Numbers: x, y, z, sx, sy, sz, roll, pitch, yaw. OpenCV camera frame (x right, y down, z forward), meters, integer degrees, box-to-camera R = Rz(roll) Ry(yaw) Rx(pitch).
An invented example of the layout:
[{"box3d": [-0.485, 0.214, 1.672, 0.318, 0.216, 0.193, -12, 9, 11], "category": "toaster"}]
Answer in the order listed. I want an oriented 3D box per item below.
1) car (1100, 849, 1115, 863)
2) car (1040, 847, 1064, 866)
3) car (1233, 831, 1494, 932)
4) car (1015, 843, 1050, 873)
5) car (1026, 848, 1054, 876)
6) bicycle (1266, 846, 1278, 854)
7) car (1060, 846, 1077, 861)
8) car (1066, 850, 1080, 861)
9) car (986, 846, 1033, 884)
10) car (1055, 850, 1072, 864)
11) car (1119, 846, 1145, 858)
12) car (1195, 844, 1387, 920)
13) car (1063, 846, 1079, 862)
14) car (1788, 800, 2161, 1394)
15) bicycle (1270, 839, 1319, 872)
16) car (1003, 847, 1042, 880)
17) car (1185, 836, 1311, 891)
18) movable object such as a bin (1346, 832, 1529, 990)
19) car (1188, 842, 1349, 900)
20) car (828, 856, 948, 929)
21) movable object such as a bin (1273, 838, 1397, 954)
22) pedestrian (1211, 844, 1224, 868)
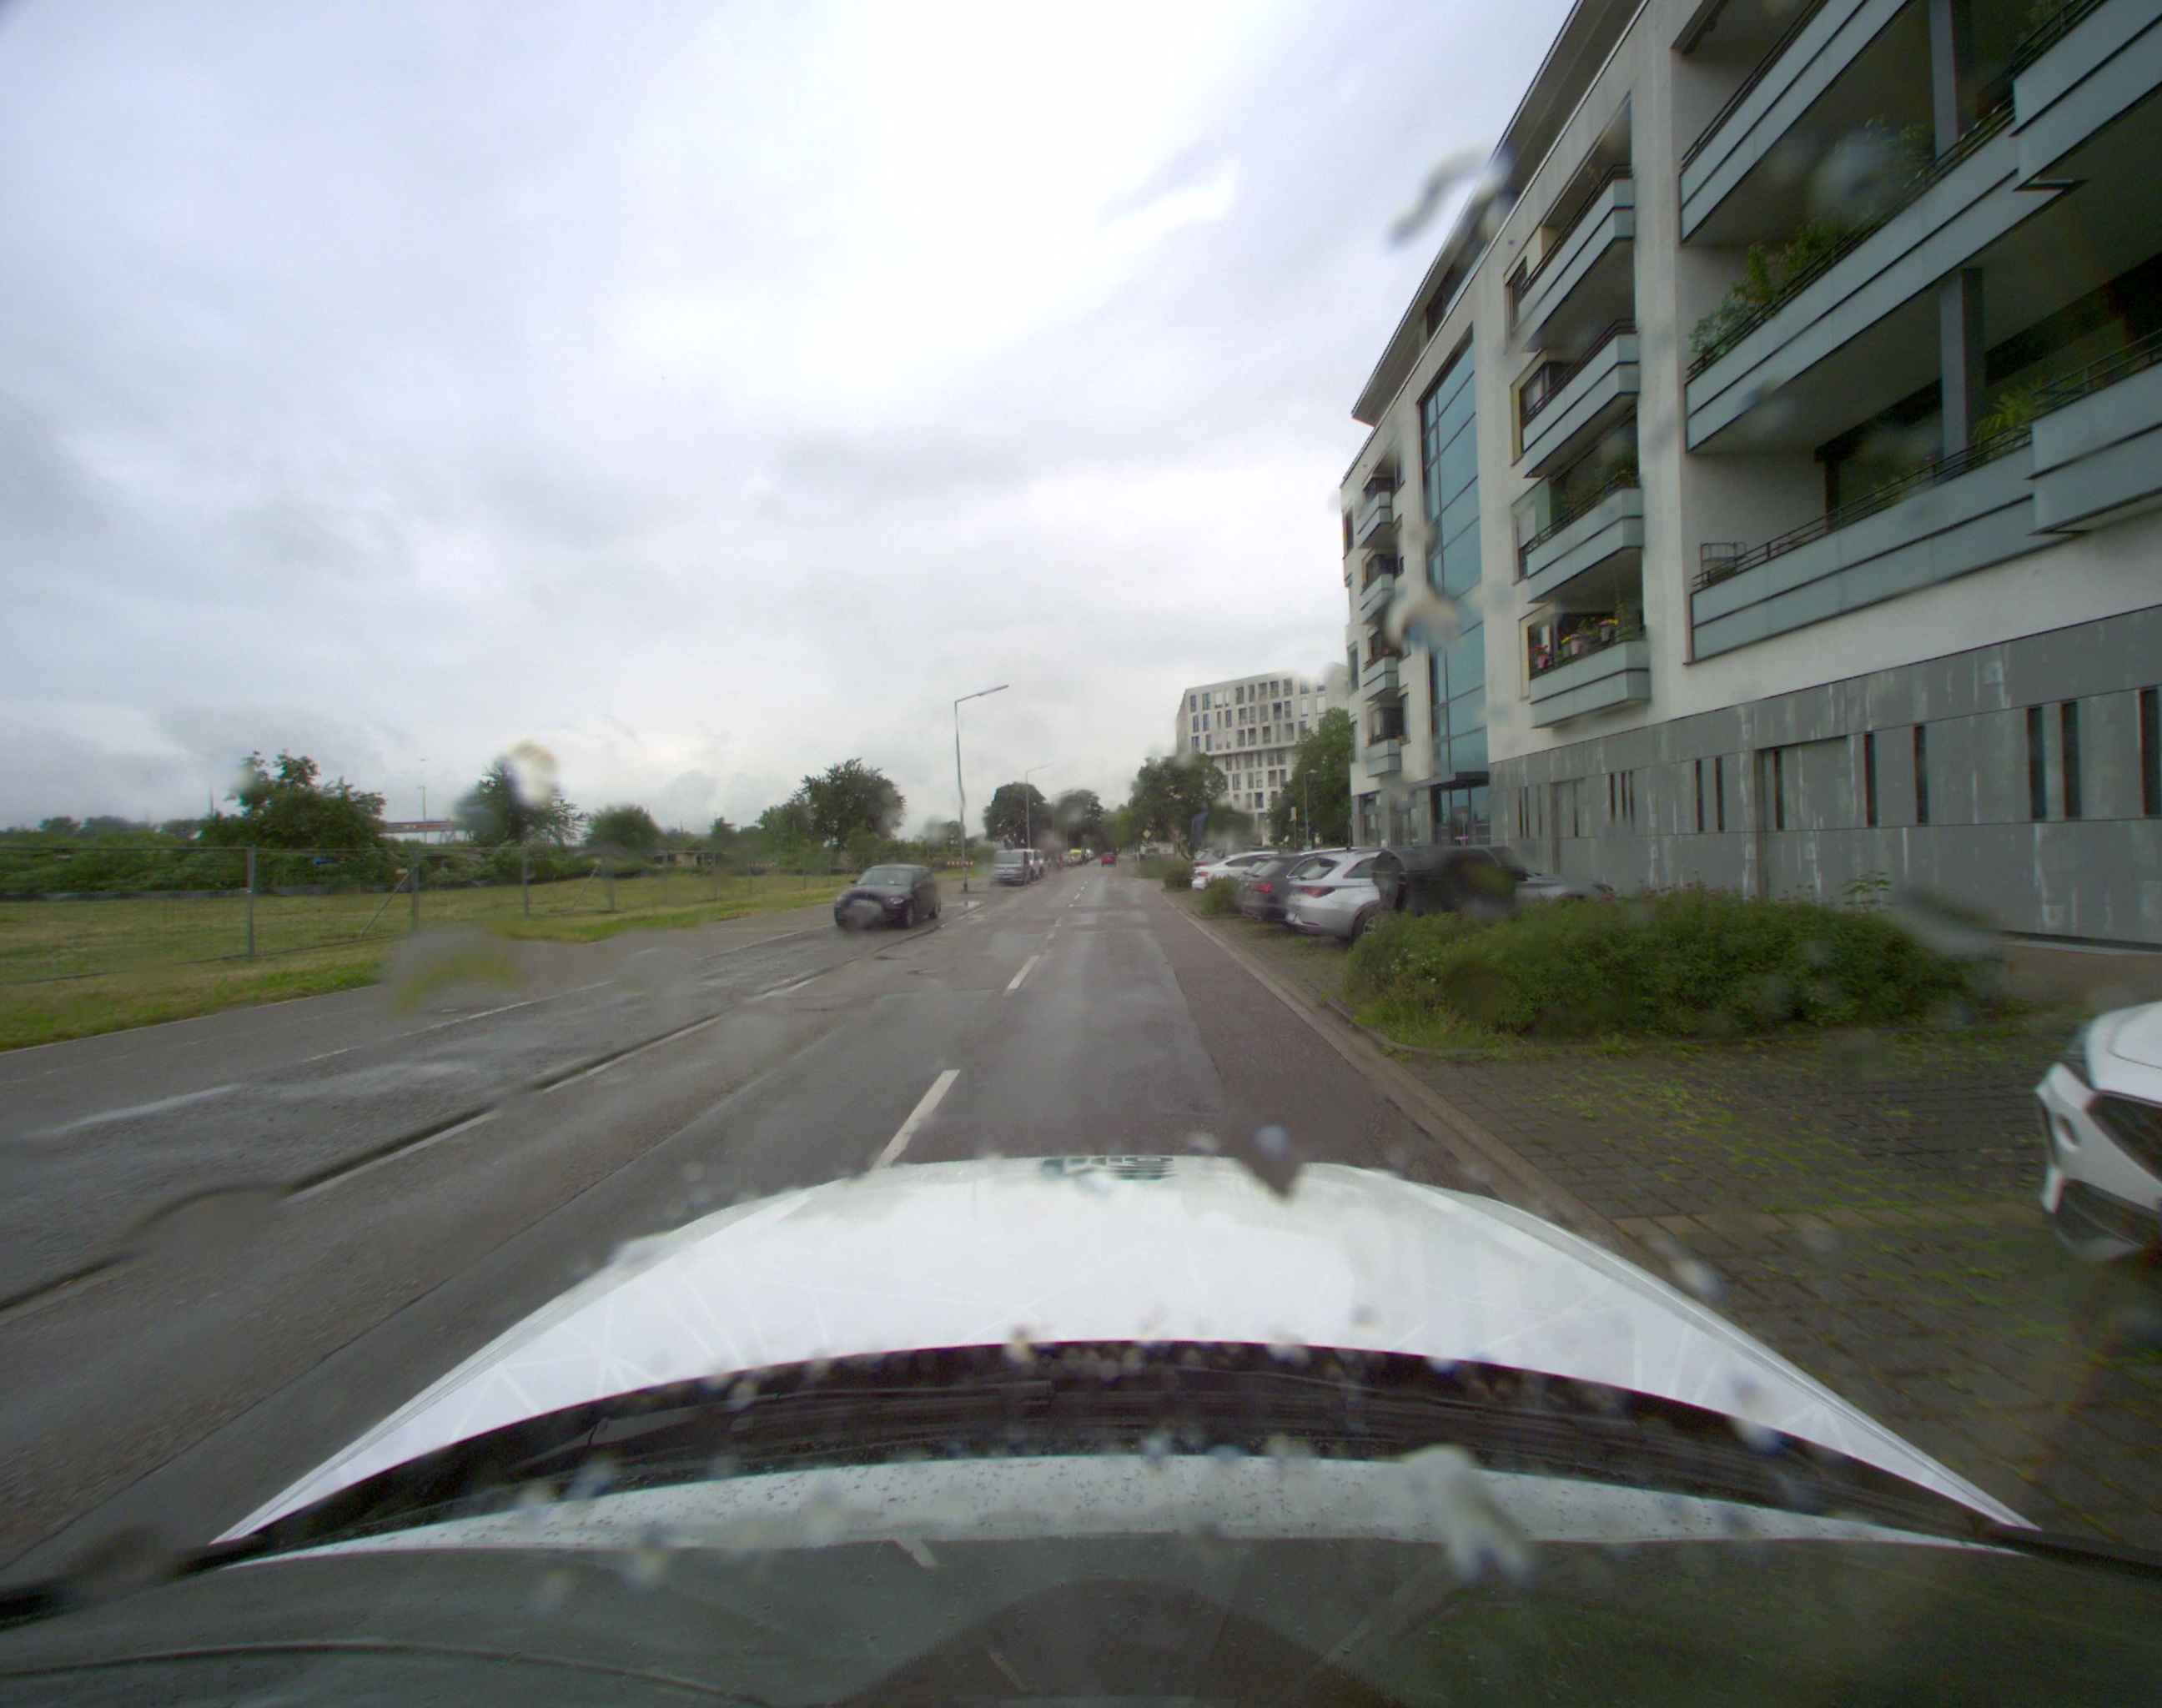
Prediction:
[{"box3d": [3.215, 0.246, 100.639, 1.750, 1.706, 4.000, -1, 0, 1], "category": "car"}, {"box3d": [-2.892, 0.244, 81.348, 1.931, 1.767, 4.335, -2, 0, 4], "category": "car"}, {"box3d": [4.989, 0.470, 14.908, 4.045, 1.496, 2.059, -3, 0, 2], "category": "car"}, {"box3d": [-3.452, 0.251, 58.466, 1.952, 2.058, 5.277, -1, 0, 2], "category": "car"}, {"box3d": [-3.500, 0.621, 70.140, 1.935, 2.236, 5.559, -2, 0, 2], "category": "car"}, {"box3d": [25.706, -0.568, 109.598, 0.716, 1.033, 2.086, -2, 0, 41], "category": "bicycle"}, {"box3d": [-1.705, -0.077, 110.981, 2.009, 1.956, 6.067, 0, 0, 2], "category": "car"}, {"box3d": [-1.124, 0.203, 123.274, 1.987, 1.594, 5.018, 1, 0, 1], "category": "car"}, {"box3d": [-3.843, 0.561, 44.779, 1.948, 1.901, 4.997, -1, 0, 2], "category": "car"}, {"box3d": [-2.101, 0.344, 98.164, 1.797, 1.561, 4.035, 1, 1, 2], "category": "car"}, {"box3d": [9.542, -0.357, 153.088, 4.527, 1.685, 1.885, -7, 0, -1], "category": "car"}, {"box3d": [4.816, 0.608, 19.072, 3.973, 1.479, 1.879, -3, 0, 0], "category": "car"}, {"box3d": [-1.575, -0.004, 134.962, 2.182, 2.694, 6.087, 1, 0, 3], "category": "car"}, {"box3d": [4.953, 0.509, 2.217, 4.330, 1.530, 1.894, -4, 0, 1], "category": "car"}, {"box3d": [10.381, 0.064, 39.664, 2.168, 1.522, 0.634, -3, 0, 22], "category": "bicycle"}, {"box3d": [-3.740, 0.555, 52.649, 1.887, 2.013, 5.261, -2, 0, 2], "category": "car"}, {"box3d": [5.966, 0.330, 29.497, 4.076, 1.623, 1.966, -4, 0, 0], "category": "car"}, {"box3d": [3.851, 0.570, 9.004, 1.295, 1.526, 1.582, -3, 0, 2], "category": "movable object such as a bin"}, {"box3d": [5.577, 0.503, 24.604, 4.393, 1.405, 1.911, -4, 0, 1], "category": "car"}, {"box3d": [-4.654, 0.868, 20.265, 1.840, 1.561, 4.154, 1, 0, 2], "category": "car"}, {"box3d": [3.685, 0.574, 12.018, 1.295, 1.526, 1.582, -3, 0, 2], "category": "movable object such as a bin"}, {"box3d": [11.612, 0.158, 69.358, 0.961, 2.013, 0.623, -2, 0, 2], "category": "pedestrian"}]
